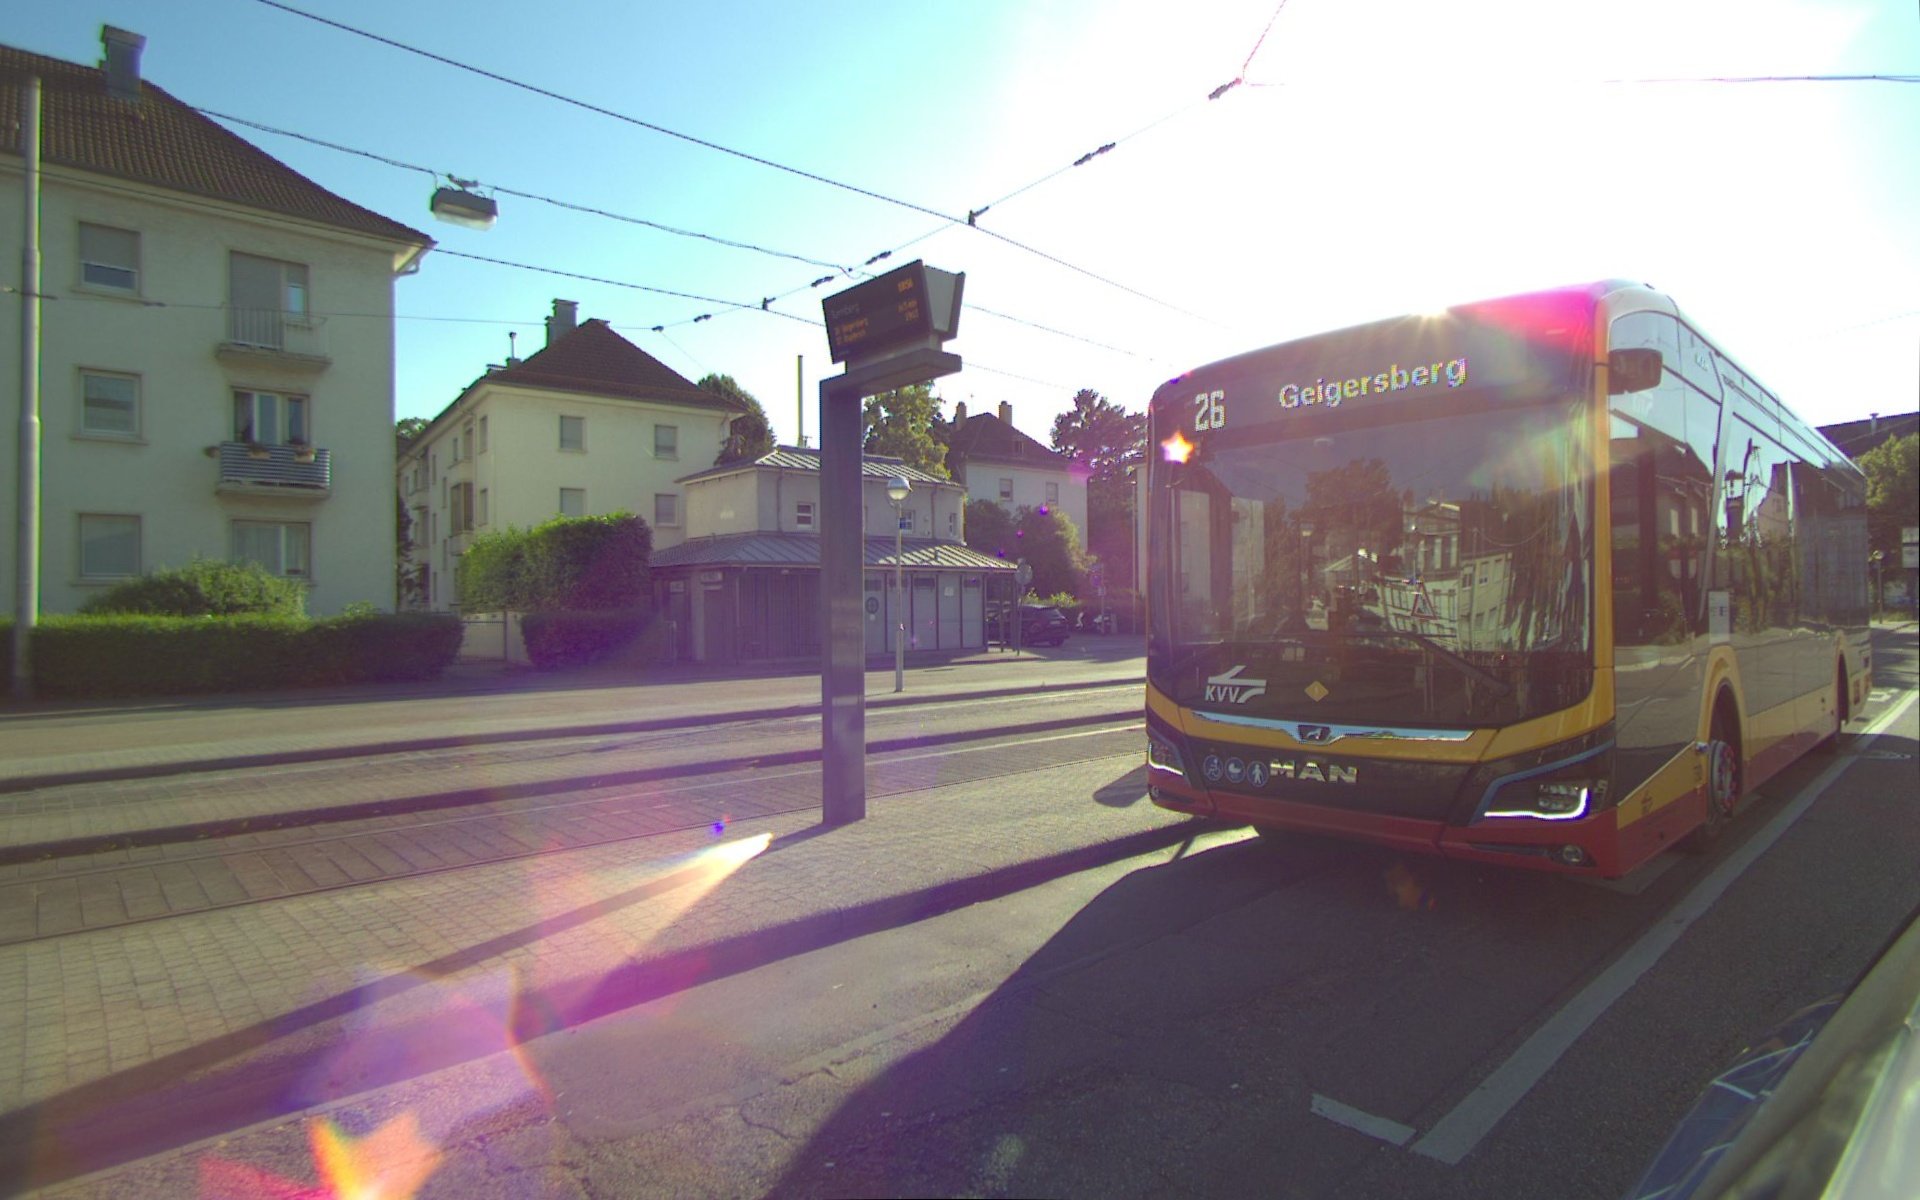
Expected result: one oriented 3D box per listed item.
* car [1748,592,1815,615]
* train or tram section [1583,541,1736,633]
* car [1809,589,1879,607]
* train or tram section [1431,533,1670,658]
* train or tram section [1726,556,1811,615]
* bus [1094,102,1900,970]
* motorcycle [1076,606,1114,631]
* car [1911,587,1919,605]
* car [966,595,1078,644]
[{"bbox_3d":[74.026,0.269,91.267,1.958,1.981,4.280,0,0,-24],"label":"car"},{"bbox_3d":[31.553,-0.675,45.291,13.241,3.578,2.960,-2,1,-43],"label":"train or tram section"},{"bbox_3d":[75.354,-0.147,86.349,1.895,1.364,4.133,-1,-1,-16],"label":"car"},{"bbox_3d":[21.236,-0.333,35.508,15.705,3.578,2.960,-2,1,-43],"label":"train or tram section"},{"bbox_3d":[52.460,-0.903,65.507,2.958,3.465,13.247,0,0,44],"label":"train or tram section"},{"bbox_3d":[6.019,-0.263,9.071,11.816,3.460,2.691,0,-1,-43],"label":"bus"},{"bbox_3d":[6.442,0.885,48.365,0.549,1.177,1.822,0,-1,-45],"label":"motorcycle"},{"bbox_3d":[77.895,-0.396,79.701,1.574,1.481,4.212,-1,-2,-12],"label":"car"},{"bbox_3d":[2.395,0.717,40.045,1.964,1.791,4.449,0,1,-39],"label":"car"}]
